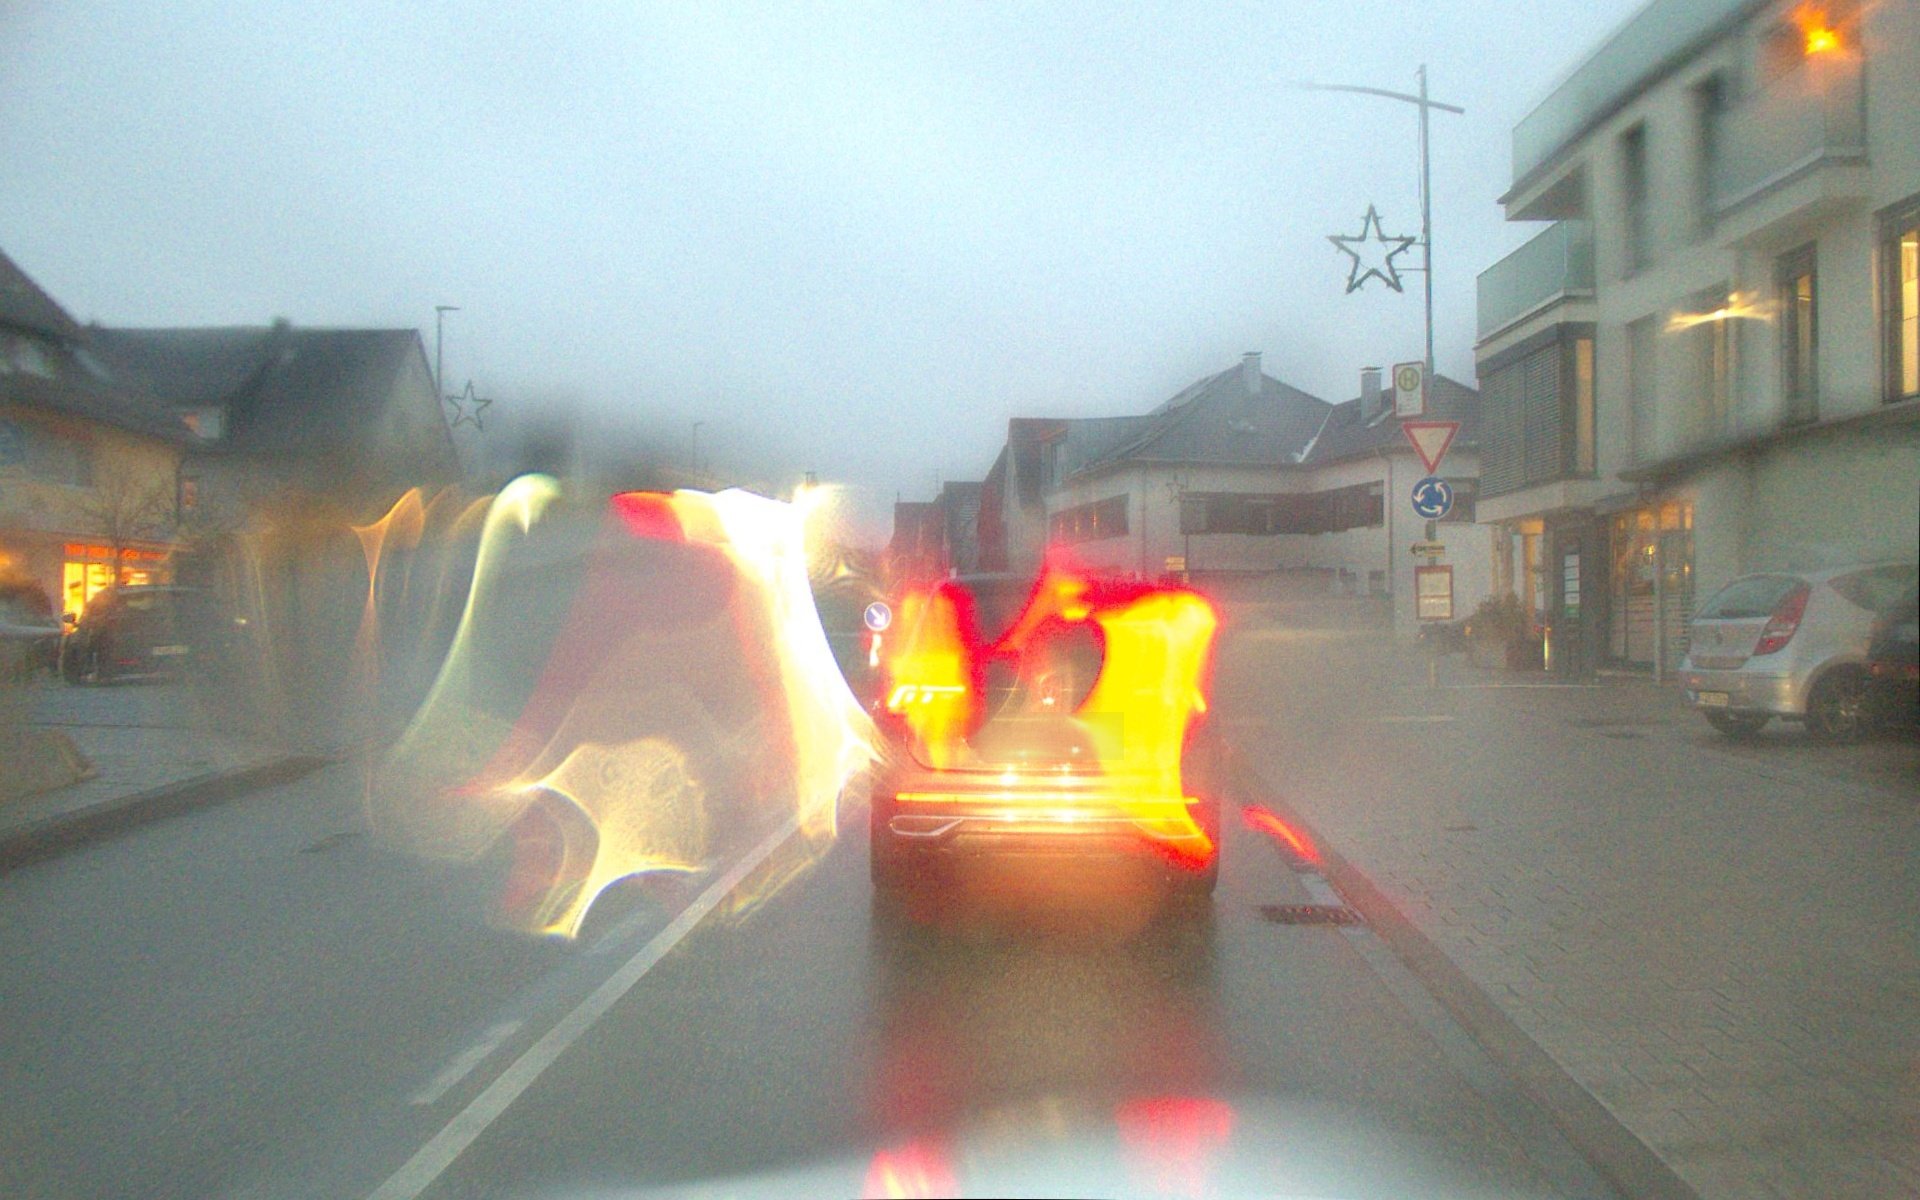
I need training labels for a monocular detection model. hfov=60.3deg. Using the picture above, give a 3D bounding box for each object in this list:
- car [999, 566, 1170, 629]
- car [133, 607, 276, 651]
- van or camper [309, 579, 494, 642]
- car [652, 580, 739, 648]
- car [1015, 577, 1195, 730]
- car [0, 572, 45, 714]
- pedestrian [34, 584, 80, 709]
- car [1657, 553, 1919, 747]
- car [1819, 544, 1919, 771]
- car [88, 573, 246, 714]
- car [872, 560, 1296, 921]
[{"bbox_3d":[3.087,-0.049,41.457,3.914,1.443,1.995,-1,-1,-10],"label":"car"},{"bbox_3d":[-24.997,0.944,54.826,3.908,1.388,1.726,0,0,-4],"label":"car"},{"bbox_3d":[-17.956,0.335,53.254,5.412,1.989,2.002,0,0,14],"label":"van or camper"},{"bbox_3d":[-9.277,0.515,58.376,1.951,2.242,4.420,2,-1,5],"label":"car"},{"bbox_3d":[1.493,0.518,18.227,1.648,1.478,4.000,1,0,0],"label":"car"},{"bbox_3d":[-14.668,0.599,24.247,2.013,1.959,4.021,0,0,-27],"label":"car"},{"bbox_3d":[-12.848,0.652,23.549,0.490,1.731,0.707,-2,0,-27],"label":"pedestrian"},{"bbox_3d":[8.463,0.329,14.265,4.124,1.485,1.791,-3,0,-6],"label":"car"},{"bbox_3d":[8.309,0.273,11.141,4.124,1.485,1.791,-3,0,-6],"label":"car"},{"bbox_3d":[-12.141,0.591,25.308,2.013,1.959,4.021,0,0,-27],"label":"car"},{"bbox_3d":[0.593,0.637,9.772,1.924,1.622,4.313,1,0,0],"label":"car"}]
